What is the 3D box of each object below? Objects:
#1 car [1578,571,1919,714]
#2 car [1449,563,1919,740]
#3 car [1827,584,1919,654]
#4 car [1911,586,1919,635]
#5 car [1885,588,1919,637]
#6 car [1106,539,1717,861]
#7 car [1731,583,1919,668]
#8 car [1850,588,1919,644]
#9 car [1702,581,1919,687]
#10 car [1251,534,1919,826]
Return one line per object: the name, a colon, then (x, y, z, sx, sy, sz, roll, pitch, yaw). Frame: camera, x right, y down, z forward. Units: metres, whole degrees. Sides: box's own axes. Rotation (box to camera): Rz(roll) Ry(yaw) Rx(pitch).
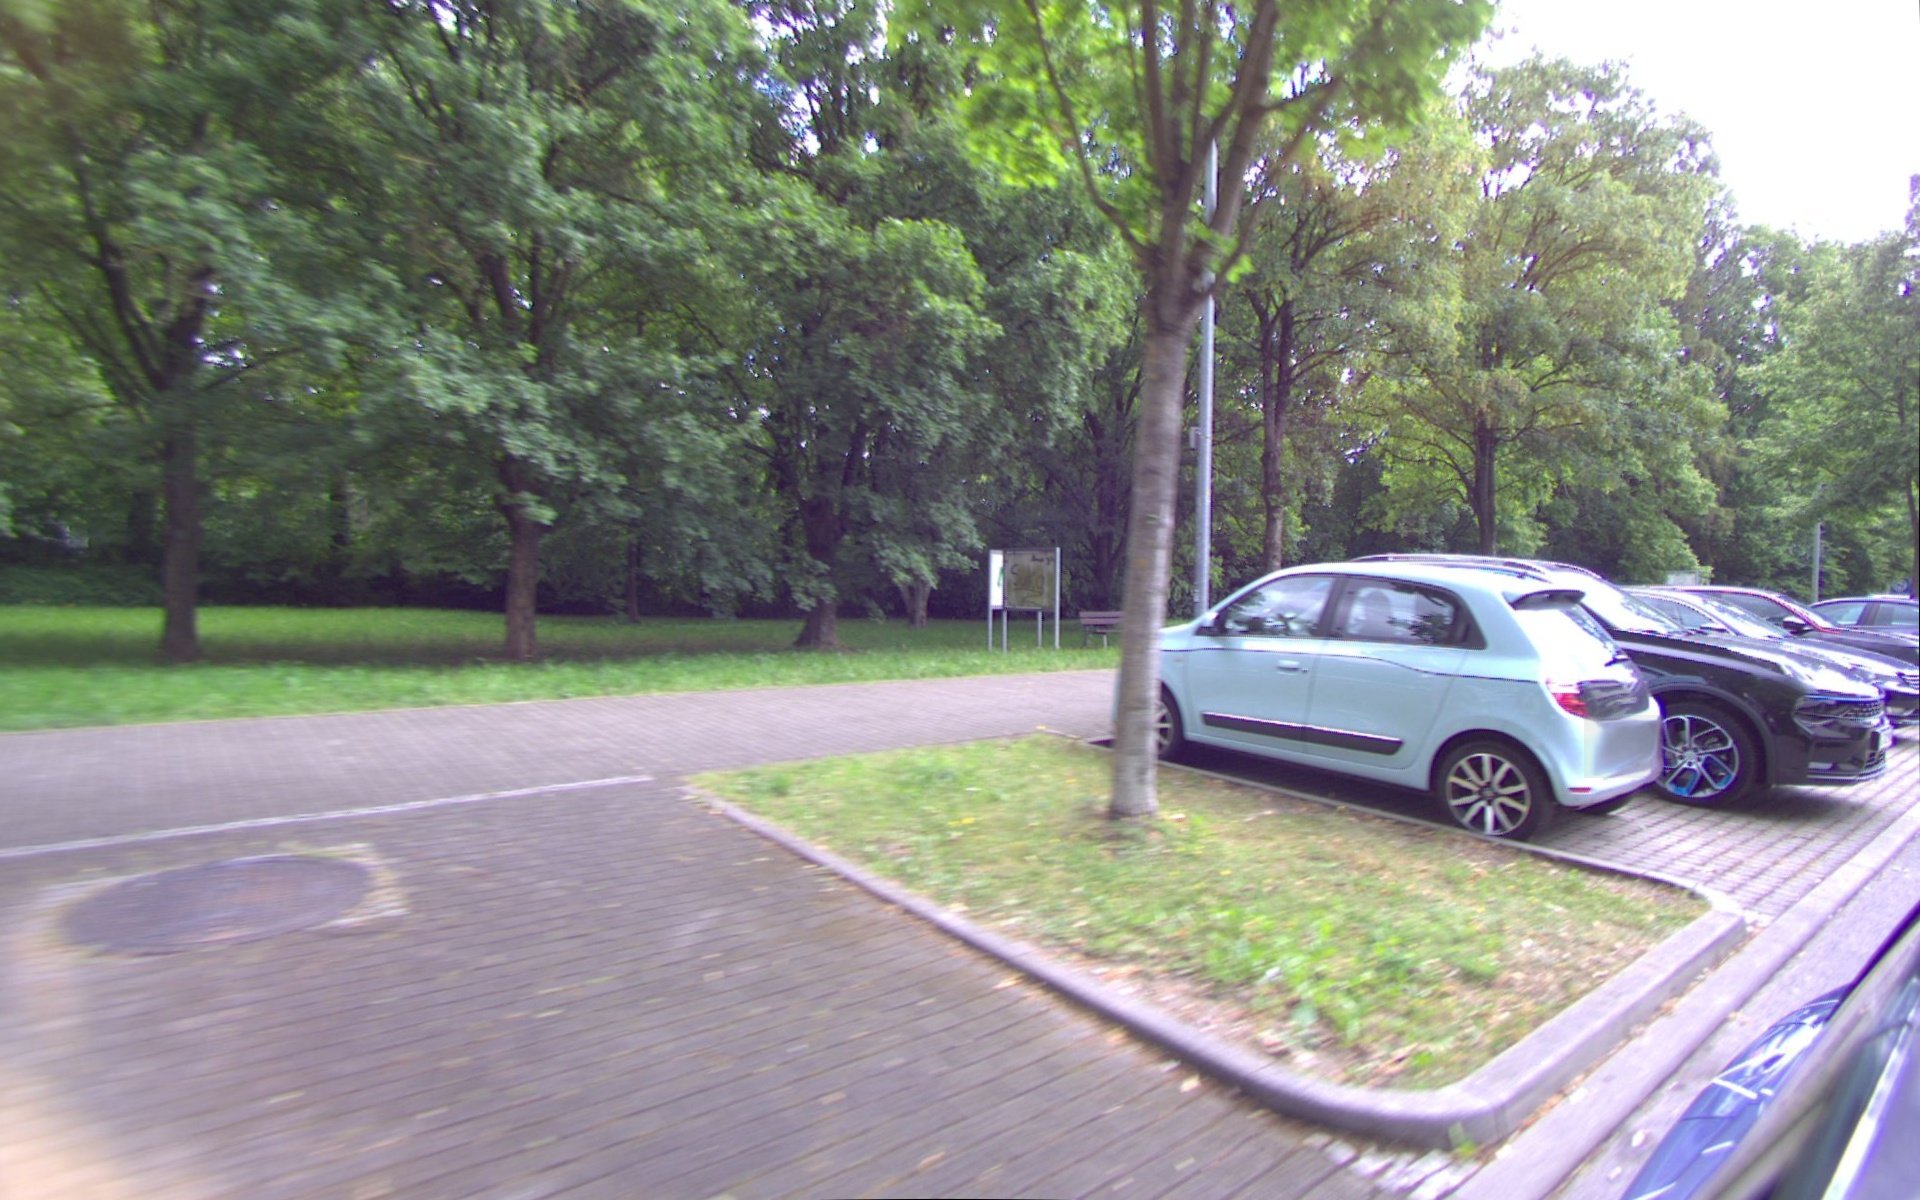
car: (10.906, 0.475, 13.574, 1.820, 1.535, 4.079, 0, 4, -42)
car: (8.584, 0.440, 11.933, 1.946, 1.535, 4.652, 1, 3, -37)
car: (22.954, 0.495, 23.542, 1.846, 1.534, 3.854, 0, 3, -36)
car: (32.738, 0.440, 31.678, 1.829, 1.566, 4.121, 0, 4, -42)
car: (30.668, 0.474, 30.491, 1.763, 1.439, 4.013, 0, 4, -44)
car: (2.895, 0.441, 7.022, 1.764, 1.593, 3.389, 1, 3, -38)
car: (18.487, 0.503, 20.282, 1.813, 1.472, 4.498, 0, 3, -39)
car: (26.861, 0.500, 27.279, 1.785, 1.439, 4.064, 0, 3, -40)
car: (14.819, 0.527, 16.446, 1.817, 1.474, 4.085, 0, 3, -38)
car: (4.939, 0.378, 8.394, 2.045, 1.696, 4.427, 1, 3, -39)
